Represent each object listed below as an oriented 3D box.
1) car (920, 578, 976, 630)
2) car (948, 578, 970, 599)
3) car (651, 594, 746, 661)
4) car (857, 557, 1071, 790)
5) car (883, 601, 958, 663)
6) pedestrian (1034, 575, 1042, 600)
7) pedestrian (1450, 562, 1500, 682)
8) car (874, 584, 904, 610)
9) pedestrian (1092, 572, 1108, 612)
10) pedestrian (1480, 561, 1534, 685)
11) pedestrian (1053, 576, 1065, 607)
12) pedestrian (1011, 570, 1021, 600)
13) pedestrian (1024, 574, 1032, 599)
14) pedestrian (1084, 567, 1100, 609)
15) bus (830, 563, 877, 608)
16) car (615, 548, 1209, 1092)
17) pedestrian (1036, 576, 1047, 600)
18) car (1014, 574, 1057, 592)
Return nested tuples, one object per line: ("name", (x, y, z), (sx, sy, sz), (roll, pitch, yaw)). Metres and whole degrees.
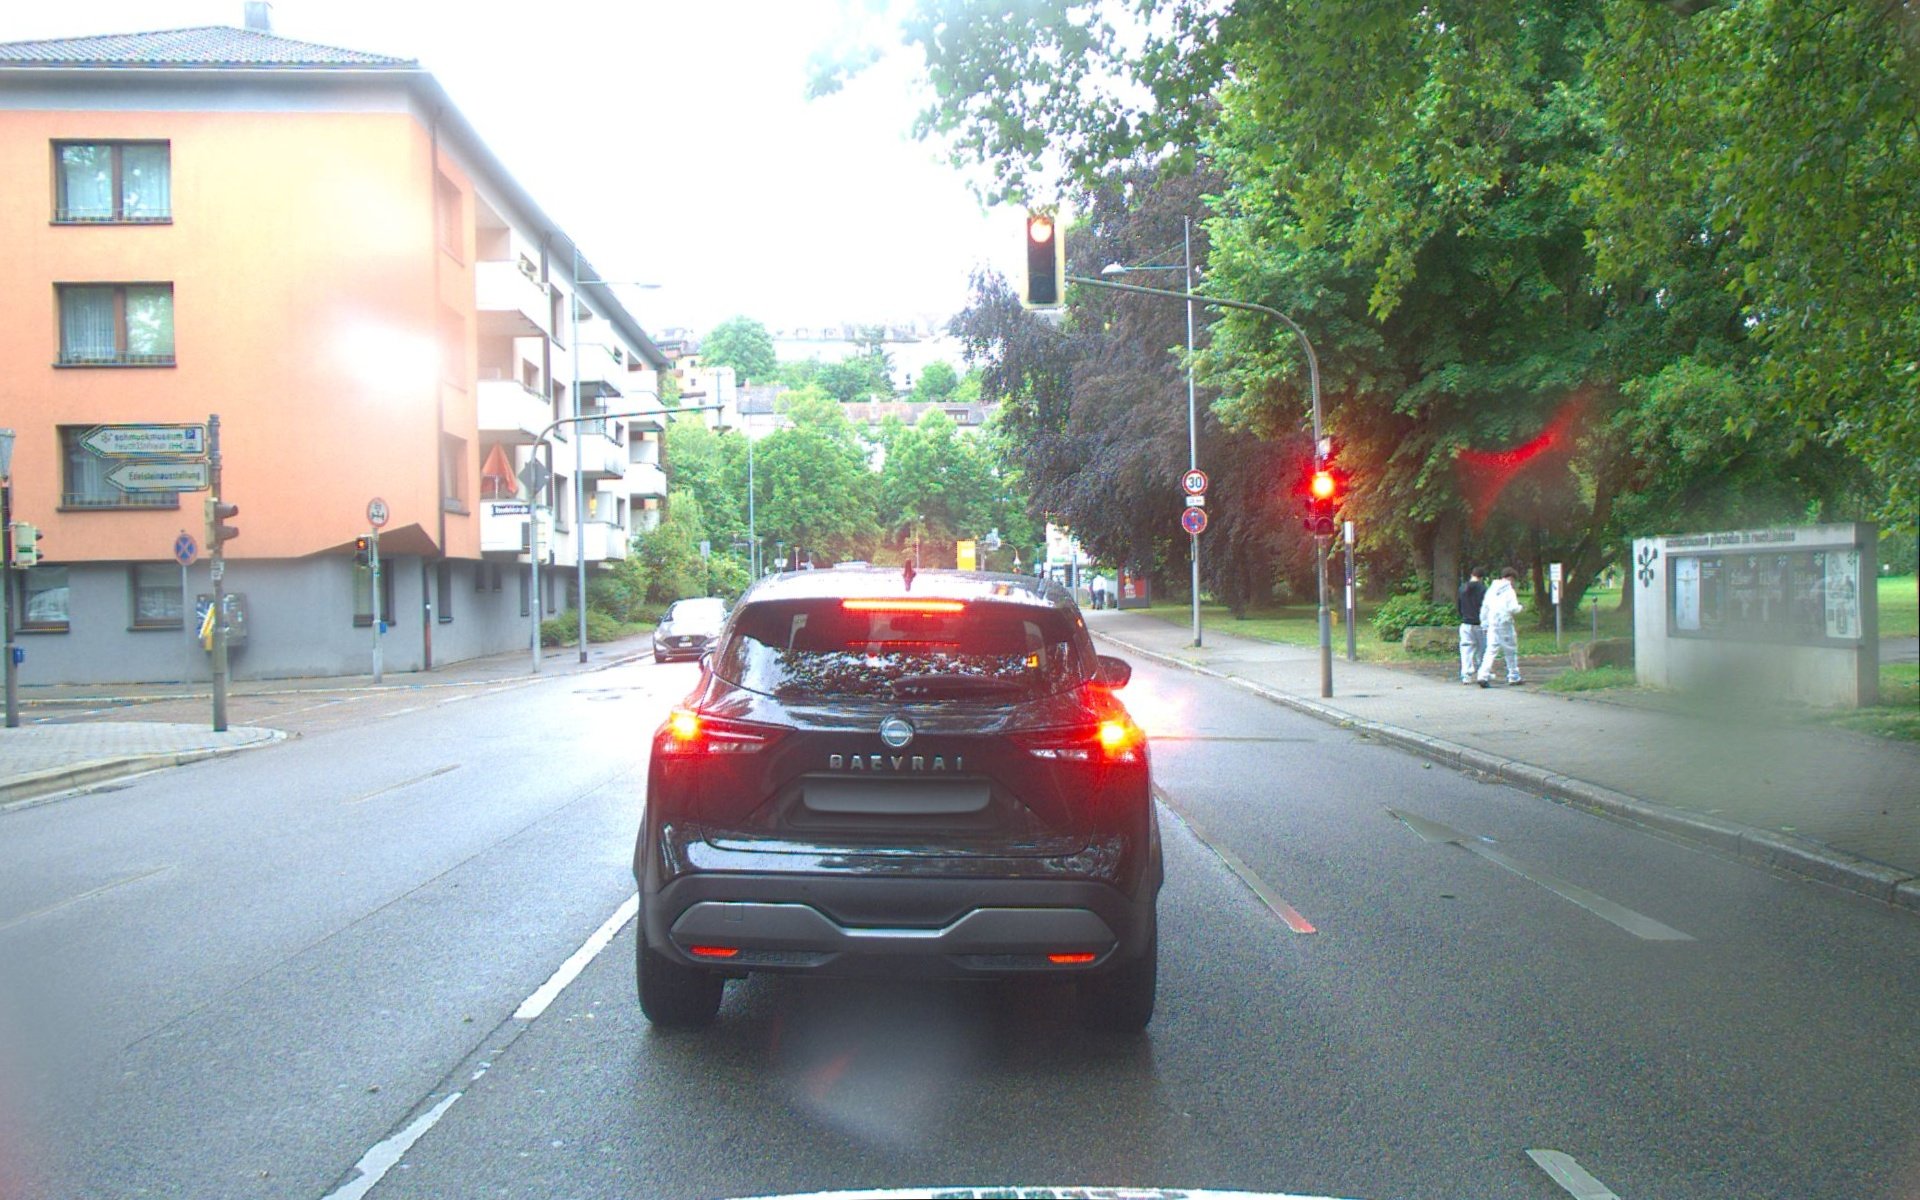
("car", (-0.351, 0.101, 50.067), (1.591, 1.439, 3.454), (-2, 0, 0))
("car", (-0.069, -0.945, 136.391), (1.714, 1.662, 3.634), (-2, 1, 0))
("car", (-6.391, 0.641, 40.843), (1.772, 1.441, 4.029), (-3, 1, -2))
("car", (0.059, 0.551, 14.612), (1.588, 1.738, 3.771), (-2, 0, 1))
("car", (-1.005, 0.755, 41.059), (1.772, 1.442, 4.029), (0, 0, -2))
("pedestrian", (5.270, -0.838, 111.993), (0.504, 1.684, 0.550), (1, -1, -1))
("pedestrian", (7.719, 0.325, 24.803), (0.475, 1.751, 0.559), (-2, 0, -7))
("car", (-4.185, -0.190, 98.054), (1.591, 1.439, 3.454), (-2, 0, 0))
("pedestrian", (6.609, -0.377, 77.972), (0.606, 1.810, 0.778), (-2, 0, -1))
("pedestrian", (7.891, 0.324, 23.877), (0.493, 1.751, 0.559), (-2, 0, -7))
("pedestrian", (5.935, -0.500, 98.856), (0.606, 1.810, 0.550), (-2, 0, -1))
("pedestrian", (4.219, -1.122, 124.220), (0.752, 2.222, 0.711), (1, -1, 2))
("pedestrian", (4.619, -0.902, 112.738), (0.533, 1.680, 0.490), (1, -1, 0))
("pedestrian", (6.580, -0.609, 82.293), (0.661, 2.049, 0.777), (-2, 0, -1))
("bus", (-7.603, -0.994, 119.332), (2.710, 3.026, 11.779), (-1, 0, -1))
("car", (-0.168, 0.675, 6.994), (1.769, 1.618, 3.999), (1, 0, -1))
("pedestrian", (5.565, -0.814, 112.759), (0.685, 1.680, 0.628), (1, -1, 0))
("car", (7.461, -1.677, 163.313), (3.916, 1.713, 1.995), (-2, 0, -11))
